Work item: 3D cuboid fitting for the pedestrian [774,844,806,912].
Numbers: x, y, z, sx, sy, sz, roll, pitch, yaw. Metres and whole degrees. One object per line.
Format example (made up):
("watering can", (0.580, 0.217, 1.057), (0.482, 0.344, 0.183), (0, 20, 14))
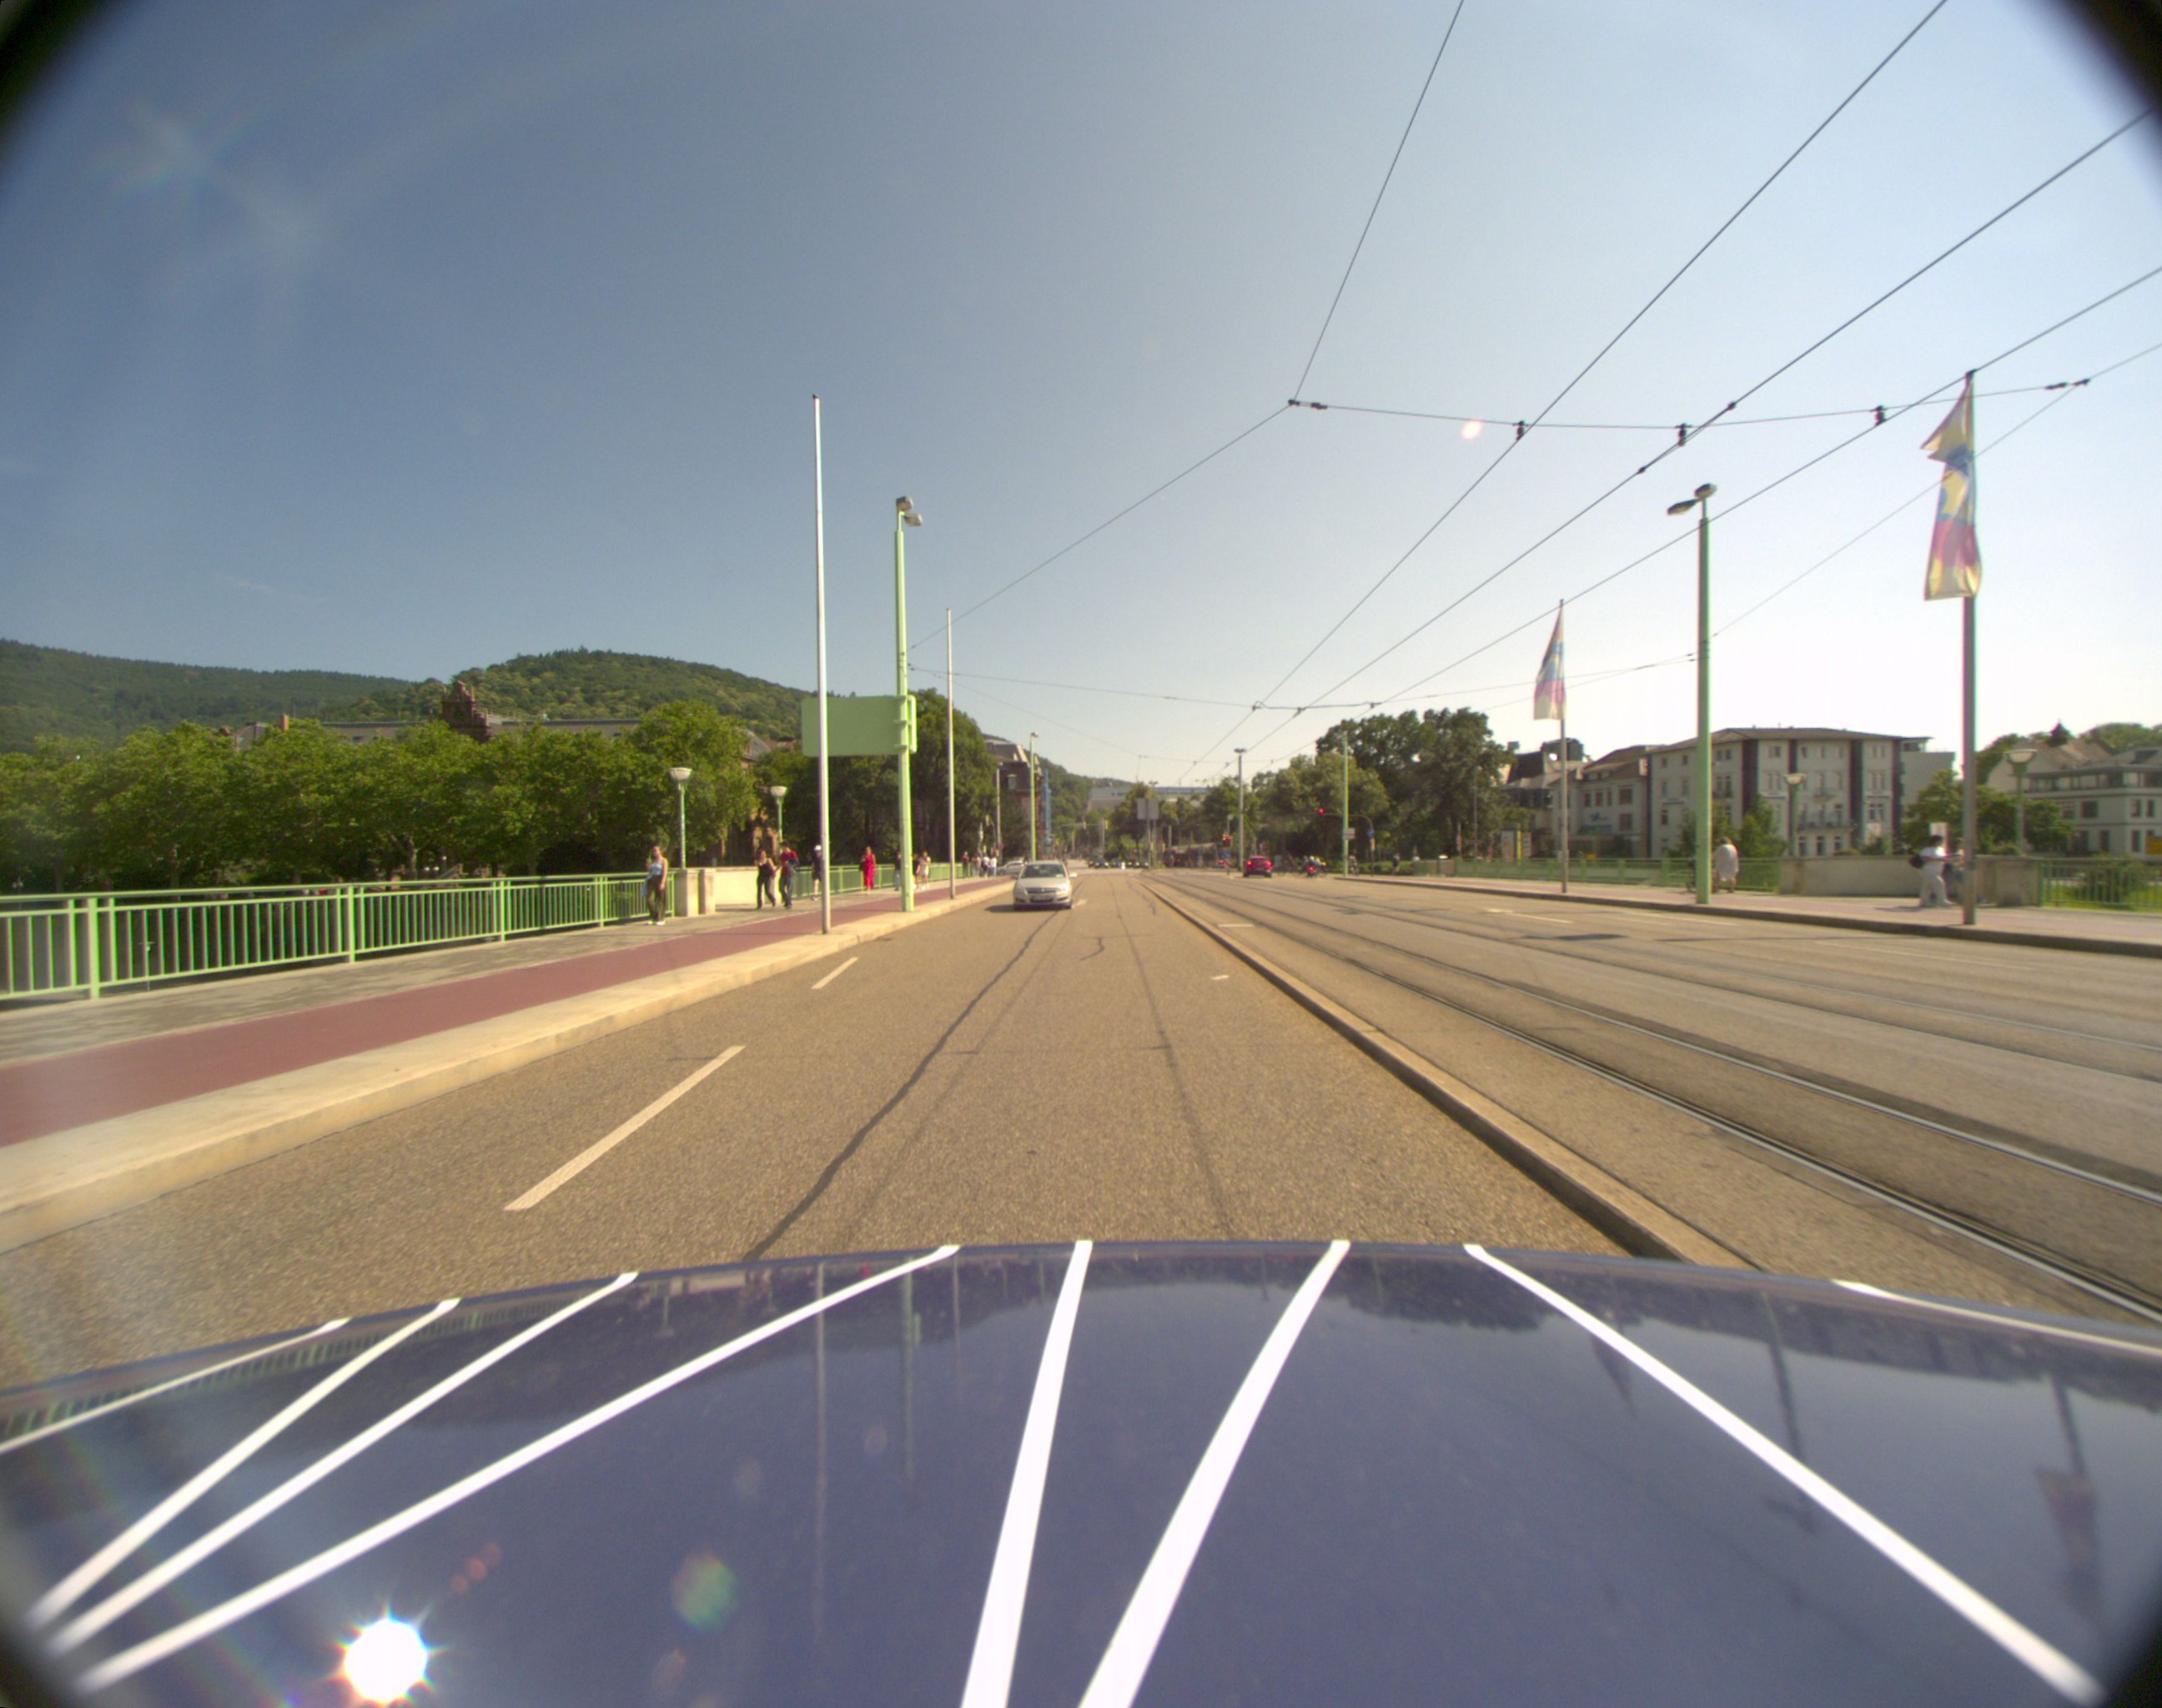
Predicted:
("pedestrian", (-7.785, 0.636, 20.342), (0.587, 1.783, 0.632), (-1, 1, -3))

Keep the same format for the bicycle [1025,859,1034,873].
("bicycle", (-4.075, 0.943, 59.955), (0.643, 1.076, 2.496), (0, 0, -2))

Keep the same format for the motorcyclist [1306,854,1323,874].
("motorcyclist", (16.731, 0.727, 54.460), (0.847, 1.394, 0.898), (-2, 1, -1))

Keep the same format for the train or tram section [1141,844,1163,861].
("train or tram section", (14.412, -0.254, 155.368), (2.767, 3.383, 12.407), (0, 0, -3))

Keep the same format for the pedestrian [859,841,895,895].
("pedestrian", (-7.489, 0.499, 27.908), (1.018, 1.942, 0.939), (-1, 1, 0))

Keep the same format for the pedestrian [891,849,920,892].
("pedestrian", (-7.339, 0.688, 31.796), (0.987, 1.759, 1.254), (0, 0, -4))

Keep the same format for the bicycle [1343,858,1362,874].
("bicycle", (20.447, 0.915, 57.220), (0.760, 1.107, 1.921), (-3, -1, 3))

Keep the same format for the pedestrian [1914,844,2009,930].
("pedestrian", (19.790, 0.721, 17.114), (0.740, 1.838, 1.121), (-4, 0, -1))

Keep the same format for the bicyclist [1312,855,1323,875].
("bicyclist", (18.614, 0.866, 59.763), (0.770, 1.600, 0.881), (0, 1, 20))

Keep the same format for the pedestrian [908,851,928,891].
("pedestrian", (-6.777, 0.705, 31.634), (0.656, 1.640, 0.868), (-1, 1, -3))

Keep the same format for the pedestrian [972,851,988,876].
("pedestrian", (-6.842, 0.640, 51.660), (0.987, 1.606, 0.921), (-1, 1, -4))

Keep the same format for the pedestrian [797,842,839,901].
("pedestrian", (-8.484, 0.547, 24.597), (0.987, 1.884, 1.253), (0, 1, -4))

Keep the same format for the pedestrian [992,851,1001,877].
("pedestrian", (-5.997, 0.693, 53.970), (0.550, 1.789, 0.645), (-1, 1, -4))

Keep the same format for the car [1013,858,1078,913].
("car", (-1.130, 0.916, 23.870), (1.803, 1.492, 4.496), (-2, 0, -3))

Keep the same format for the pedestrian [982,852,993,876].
("pedestrian", (-6.557, 0.693, 53.517), (0.697, 1.707, 0.731), (-1, 1, -4))

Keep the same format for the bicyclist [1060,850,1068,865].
("bicyclist", (-2.253, 0.503, 101.539), (0.944, 2.002, 0.830), (0, 0, -4))

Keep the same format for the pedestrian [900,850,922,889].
("pedestrian", (-7.568, 0.687, 33.852), (0.836, 1.667, 0.885), (-1, 1, -4))

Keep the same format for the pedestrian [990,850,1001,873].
("pedestrian", (-6.898, 0.599, 61.390), (0.775, 1.844, 0.645), (-1, 0, 5))

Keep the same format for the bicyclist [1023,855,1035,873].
("bicyclist", (-4.092, 0.763, 59.985), (0.912, 1.385, 1.232), (0, 0, -2))

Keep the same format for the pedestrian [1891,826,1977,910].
("pedestrian", (19.113, 0.309, 17.046), (0.740, 1.774, 0.957), (-4, 1, -1))

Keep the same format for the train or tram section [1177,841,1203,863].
("train or tram section", (18.687, -0.375, 131.168), (2.544, 3.755, 9.164), (-1, 0, -4))

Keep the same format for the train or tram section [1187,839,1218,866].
("train or tram section", (19.514, -0.321, 122.593), (2.545, 3.758, 9.157), (-1, 4, -6))

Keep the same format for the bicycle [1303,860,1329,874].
("bicycle", (18.501, 1.017, 59.775), (1.916, 1.107, 0.762), (-1, 1, 18))

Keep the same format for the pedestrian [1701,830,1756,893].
("pedestrian", (20.015, 0.226, 23.512), (0.740, 1.843, 0.975), (-4, 1, -1))

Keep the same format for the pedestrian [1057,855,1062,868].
("pedestrian", (-3.202, 1.079, 113.360), (0.636, 1.880, 0.903), (-1, 0, -5))

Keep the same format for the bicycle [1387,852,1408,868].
("bicycle", (23.073, 0.404, 55.465), (0.760, 1.107, 1.920), (-1, 1, 2))

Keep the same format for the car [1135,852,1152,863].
("car", (8.528, 0.465, 103.793), (1.753, 1.477, 4.746), (1, 0, -3))

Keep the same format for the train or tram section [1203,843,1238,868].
("train or tram section", (20.825, 0.234, 113.937), (2.411, 3.659, 9.614), (0, 0, -7))

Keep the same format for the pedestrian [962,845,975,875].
("pedestrian", (-7.640, 0.385, 51.571), (0.805, 2.002, 0.954), (-1, 1, -4))

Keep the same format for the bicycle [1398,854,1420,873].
("bicycle", (26.047, 0.757, 60.332), (0.706, 1.391, 2.163), (-5, 0, -1))

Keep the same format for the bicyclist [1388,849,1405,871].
("bicyclist", (23.060, 0.429, 55.541), (0.879, 1.600, 0.772), (-1, 1, 1))

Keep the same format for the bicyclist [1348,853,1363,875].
("bicyclist", (20.405, 0.722, 56.520), (0.879, 1.599, 0.772), (1, -1, 4))

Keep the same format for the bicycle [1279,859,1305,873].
("bicycle", (16.954, 0.985, 61.130), (1.918, 1.107, 0.761), (-1, 1, 5))

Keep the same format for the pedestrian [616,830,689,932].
("pedestrian", (-8.745, 0.530, 15.552), (0.876, 2.002, 1.058), (-1, 1, -4))

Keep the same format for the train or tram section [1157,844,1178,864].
("train or tram section", (15.204, -0.052, 133.679), (2.768, 3.383, 5.884), (0, 0, -4))

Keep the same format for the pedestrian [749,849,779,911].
("pedestrian", (-8.518, 0.678, 20.440), (0.524, 1.640, 0.699), (-1, 1, -4))

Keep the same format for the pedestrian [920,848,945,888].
("pedestrian", (-6.630, 0.603, 33.958), (0.987, 1.740, 0.929), (-1, 1, -4))

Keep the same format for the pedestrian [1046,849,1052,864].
("pedestrian", (-4.383, 0.398, 104.381), (0.814, 2.002, 0.815), (2, 0, -4))

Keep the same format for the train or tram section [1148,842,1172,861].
("train or tram section", (14.820, -0.381, 143.077), (2.767, 3.383, 12.408), (0, 0, -3))

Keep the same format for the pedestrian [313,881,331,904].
("pedestrian", (-61.005, 3.088, 61.088), (0.742, 1.765, 0.676), (-2, 0, -4))

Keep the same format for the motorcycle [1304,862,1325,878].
("motorcycle", (16.739, 1.144, 54.546), (0.847, 1.019, 1.951), (-2, 0, 0))

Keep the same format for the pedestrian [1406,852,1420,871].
("pedestrian", (26.067, 0.553, 59.684), (0.745, 1.447, 0.899), (-1, 1, 1))

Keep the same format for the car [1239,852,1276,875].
("car", (12.509, 0.632, 53.967), (1.998, 1.506, 4.191), (-1, 1, 5))

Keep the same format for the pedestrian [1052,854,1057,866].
("pedestrian", (-3.931, 0.920, 113.066), (0.707, 1.743, 0.902), (0, 2, -5))

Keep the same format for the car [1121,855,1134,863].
("car", (7.616, 0.744, 125.396), (1.637, 1.301, 3.913), (0, 0, -4))

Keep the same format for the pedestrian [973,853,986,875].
("pedestrian", (-7.430, 0.731, 55.430), (0.801, 1.625, 0.949), (-1, 1, -1))

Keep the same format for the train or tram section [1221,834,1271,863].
("train or tram section", (22.355, -0.752, 103.716), (2.478, 3.755, 11.839), (-1, 0, -9))

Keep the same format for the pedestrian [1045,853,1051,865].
("pedestrian", (-4.419, 0.658, 101.487), (0.814, 1.593, 0.815), (2, 0, -4))

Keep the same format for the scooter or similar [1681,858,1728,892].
("scooter or similar", (20.041, 0.660, 24.436), (0.740, 1.023, 0.832), (-4, 0, -1))

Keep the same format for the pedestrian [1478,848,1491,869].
("pedestrian", (33.801, 0.369, 63.641), (0.702, 1.782, 0.694), (-1, 1, -41))

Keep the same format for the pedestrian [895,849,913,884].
("pedestrian", (-8.409, 0.605, 36.110), (0.651, 1.622, 0.692), (-2, 0, 3))

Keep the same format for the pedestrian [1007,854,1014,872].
("pedestrian", (-8.021, 1.052, 86.962), (0.777, 2.002, 1.059), (0, 0, -3))

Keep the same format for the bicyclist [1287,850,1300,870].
("bicyclist", (17.081, 0.502, 61.116), (0.879, 1.600, 0.772), (-1, 1, 4))

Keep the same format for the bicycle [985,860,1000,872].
("bicycle", (-9.977, 1.355, 85.967), (0.801, 1.199, 2.276), (2, 4, 18))
